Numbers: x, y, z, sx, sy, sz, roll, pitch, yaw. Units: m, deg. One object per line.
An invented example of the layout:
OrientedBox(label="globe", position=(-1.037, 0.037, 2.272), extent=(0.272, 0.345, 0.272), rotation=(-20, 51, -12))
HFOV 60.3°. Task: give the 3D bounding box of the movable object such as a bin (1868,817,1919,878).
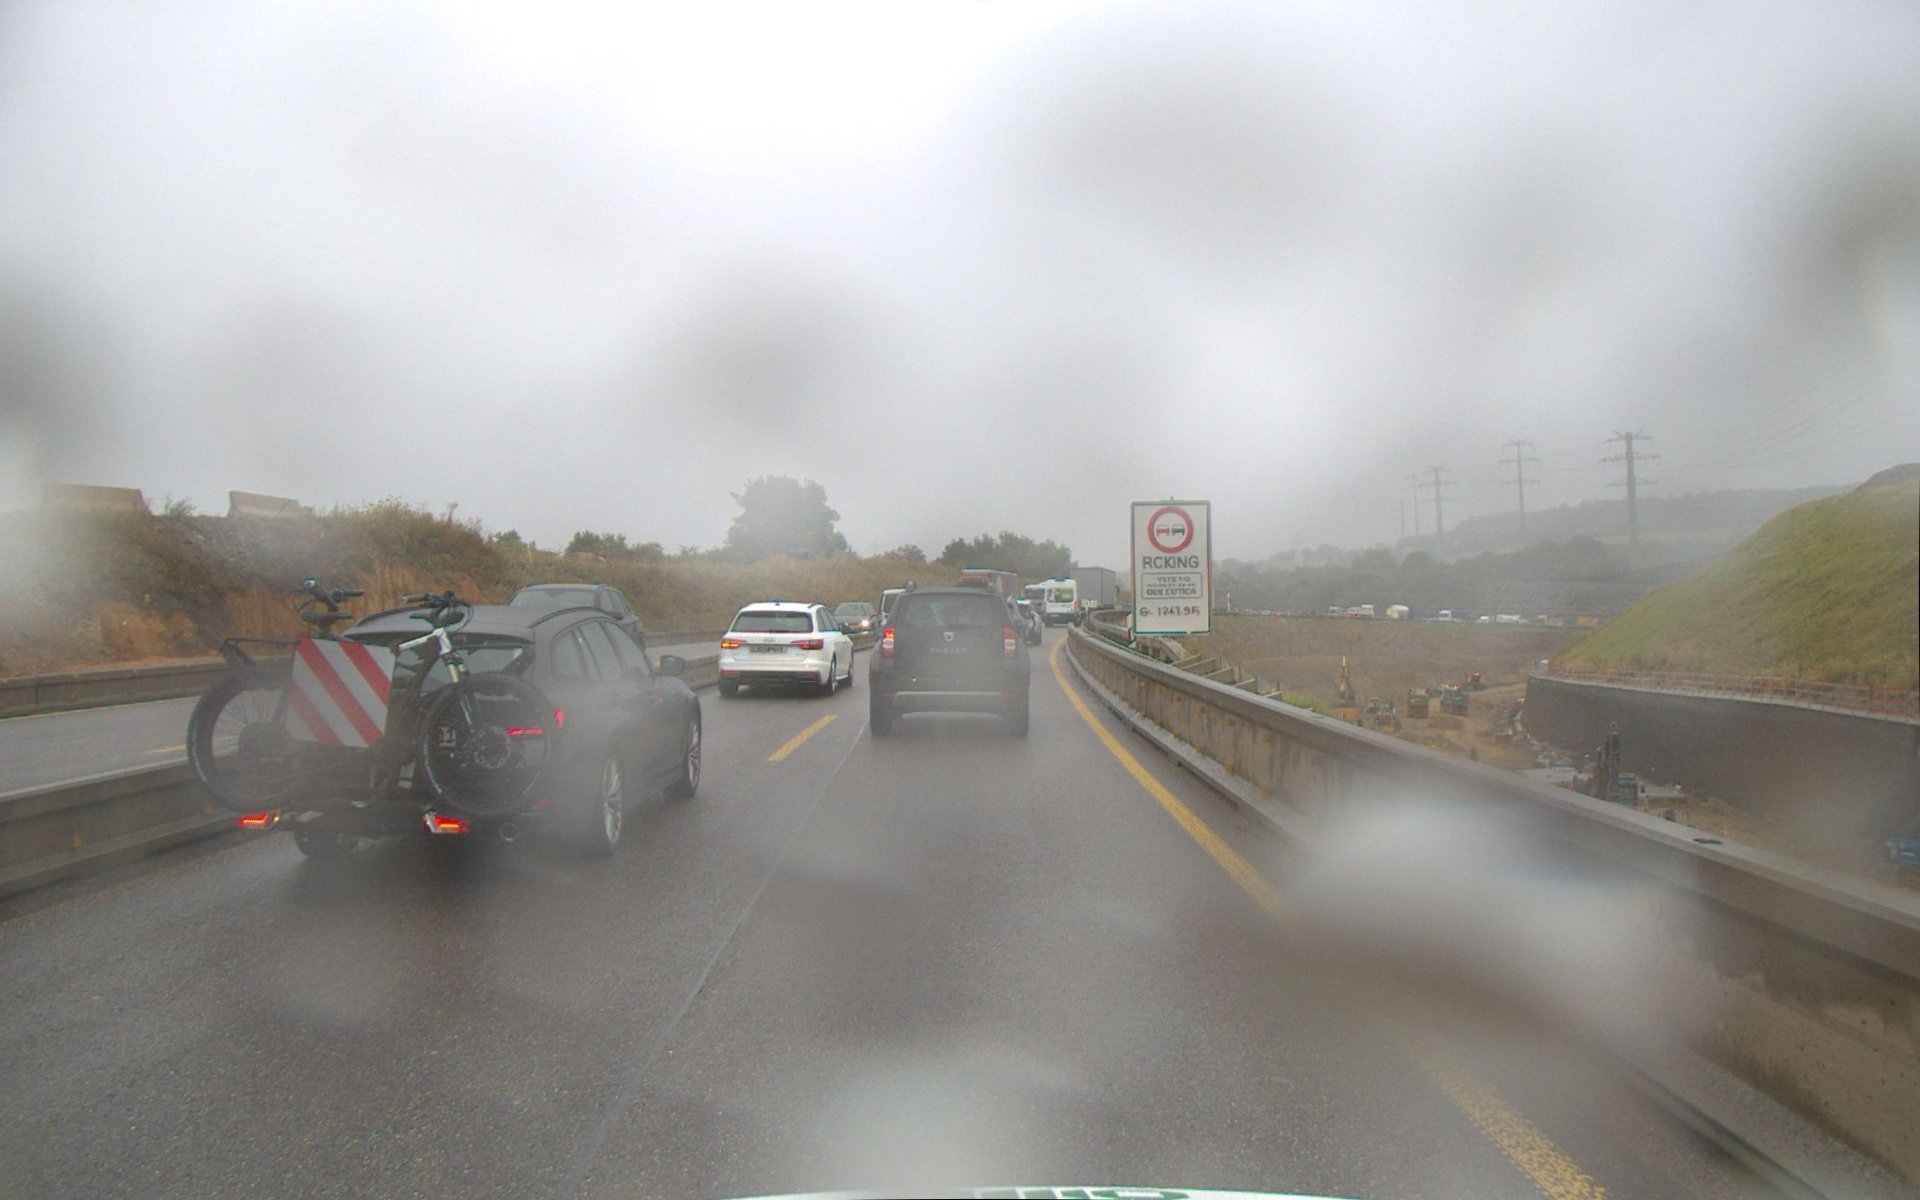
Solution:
OrientedBox(label="movable object such as a bin", position=(35.915, 9.190, 61.016), extent=(1.979, 2.049, 3.789), rotation=(4, -4, -37))

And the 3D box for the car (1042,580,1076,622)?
OrientedBox(label="car", position=(5.947, 0.092, 98.803), extent=(1.787, 2.480, 4.160), rotation=(0, -1, 6))

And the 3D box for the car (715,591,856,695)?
OrientedBox(label="car", position=(-2.690, 0.657, 26.321), extent=(1.789, 1.525, 4.000), rotation=(0, -1, 0))

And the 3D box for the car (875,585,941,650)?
OrientedBox(label="car", position=(-1.528, 0.516, 49.429), extent=(1.789, 1.847, 4.000), rotation=(0, -1, 0))

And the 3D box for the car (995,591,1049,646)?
OrientedBox(label="car", position=(2.153, 0.643, 57.661), extent=(1.788, 1.847, 4.001), rotation=(0, -1, 2))

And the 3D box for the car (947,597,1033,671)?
OrientedBox(label="car", position=(0.646, 0.738, 36.652), extent=(1.789, 1.525, 4.000), rotation=(0, -1, 0))

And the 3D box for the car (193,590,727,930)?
OrientedBox(label="car", position=(-2.756, 0.742, 10.636), extent=(1.699, 1.488, 5.630), rotation=(0, 2, 0))

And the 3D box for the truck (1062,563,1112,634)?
OrientedBox(label="truck", position=(9.797, -0.019, 126.304), extent=(3.468, 5.166, 10.448), rotation=(0, -1, 6))

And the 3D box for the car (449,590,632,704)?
OrientedBox(label="car", position=(-6.639, 0.684, 26.673), extent=(1.785, 1.668, 4.484), rotation=(0, 0, 0))

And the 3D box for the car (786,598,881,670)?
OrientedBox(label="car", position=(-2.790, 0.744, 37.144), extent=(1.789, 1.525, 4.000), rotation=(0, -1, 0))

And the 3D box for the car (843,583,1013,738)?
OrientedBox(label="car", position=(-0.319, 0.664, 19.524), extent=(1.789, 1.619, 4.000), rotation=(0, -1, 0))

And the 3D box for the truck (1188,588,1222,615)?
OrientedBox(label="truck", position=(35.408, 0.176, 238.446), extent=(3.399, 3.780, 8.421), rotation=(-1, 0, 18))
